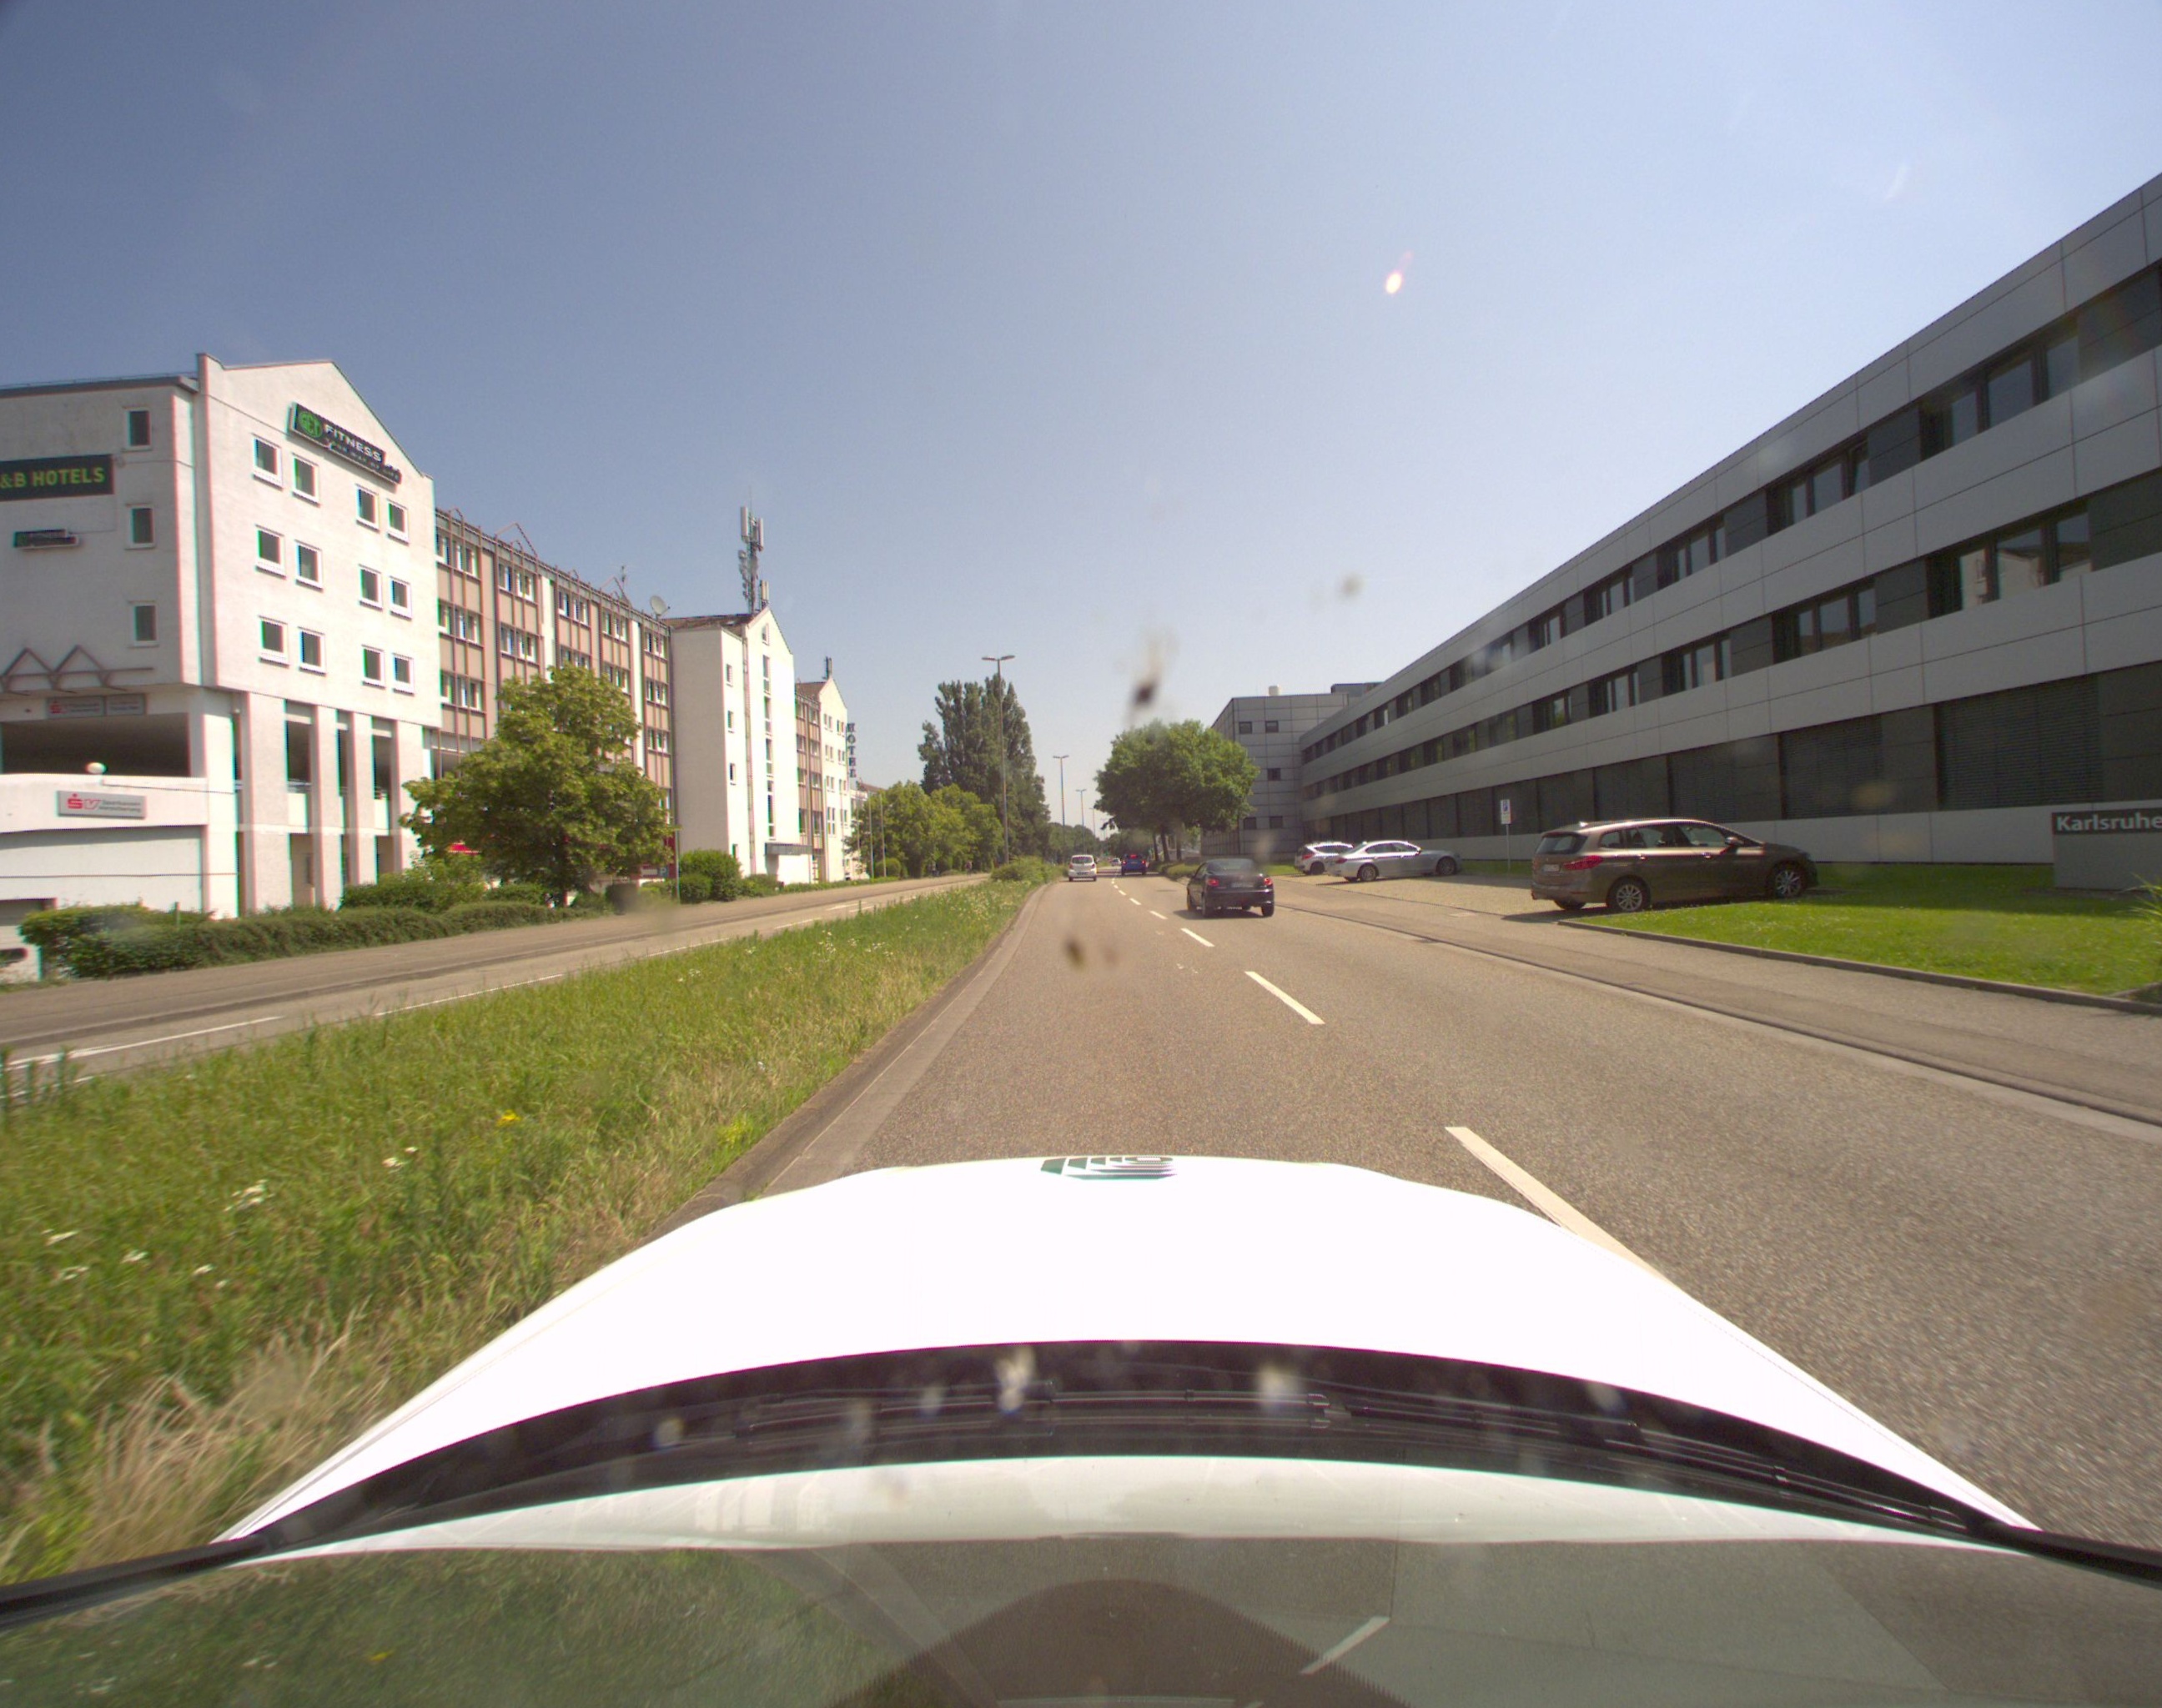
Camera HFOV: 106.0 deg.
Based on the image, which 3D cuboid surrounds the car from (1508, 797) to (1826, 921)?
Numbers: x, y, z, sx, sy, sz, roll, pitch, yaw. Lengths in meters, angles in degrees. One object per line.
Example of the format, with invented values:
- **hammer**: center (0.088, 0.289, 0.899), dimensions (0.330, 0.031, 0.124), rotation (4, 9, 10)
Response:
- **car**: center (10.412, 0.088, 14.715), dimensions (4.248, 1.689, 1.999), rotation (-6, 0, -2)

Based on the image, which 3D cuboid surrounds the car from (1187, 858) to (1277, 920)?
- **car**: center (3.649, 0.792, 20.202), dimensions (1.621, 1.364, 3.606), rotation (-1, 0, 1)

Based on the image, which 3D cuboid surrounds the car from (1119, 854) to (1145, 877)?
- **car**: center (3.838, 0.831, 60.999), dimensions (1.819, 1.580, 3.609), rotation (-2, 0, 4)

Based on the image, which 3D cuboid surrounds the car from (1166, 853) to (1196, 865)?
- **car**: center (15.647, 0.769, 127.852), dimensions (4.482, 1.583, 2.001), rotation (-3, -1, 2)

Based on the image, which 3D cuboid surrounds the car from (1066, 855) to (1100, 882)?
- **car**: center (0.160, 0.838, 48.065), dimensions (1.740, 1.520, 3.750), rotation (-1, 0, 4)

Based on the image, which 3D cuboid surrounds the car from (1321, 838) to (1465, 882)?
- **car**: center (11.609, 0.218, 30.513), dimensions (4.601, 1.390, 1.999), rotation (-3, 0, -2)

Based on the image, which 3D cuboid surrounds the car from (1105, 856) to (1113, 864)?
- **car**: center (6.850, 1.479, 200.096), dimensions (1.814, 1.662, 3.998), rotation (-3, 0, -1)

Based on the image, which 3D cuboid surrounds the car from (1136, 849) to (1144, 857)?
- **car**: center (17.273, -0.251, 239.107), dimensions (1.764, 2.013, 3.989), rotation (-3, -1, 0)

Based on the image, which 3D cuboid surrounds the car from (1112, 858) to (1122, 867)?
- **car**: center (6.914, 1.734, 158.481), dimensions (1.812, 1.662, 4.002), rotation (-3, -1, 2)

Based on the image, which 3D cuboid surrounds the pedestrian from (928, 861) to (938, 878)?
- **pedestrian**: center (-13.764, 1.436, 75.773), dimensions (0.630, 1.545, 0.728), rotation (-3, -1, 2)

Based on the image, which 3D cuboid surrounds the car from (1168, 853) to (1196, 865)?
- **car**: center (15.334, 0.734, 123.880), dimensions (3.975, 1.618, 1.999), rotation (-3, -1, -1)

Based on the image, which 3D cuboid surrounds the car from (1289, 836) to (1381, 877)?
- **car**: center (12.173, 0.113, 39.160), dimensions (3.802, 1.592, 1.731), rotation (-5, -1, -2)

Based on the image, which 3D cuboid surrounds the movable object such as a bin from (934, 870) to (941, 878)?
- **movable object such as a bin**: center (-13.305, 1.816, 75.416), dimensions (0.425, 0.705, 0.654), rotation (-3, -1, 11)

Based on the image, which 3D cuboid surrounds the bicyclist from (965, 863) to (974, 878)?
- **bicyclist**: center (-11.613, 1.739, 84.553), dimensions (0.715, 1.516, 1.026), rotation (-3, -1, -1)
